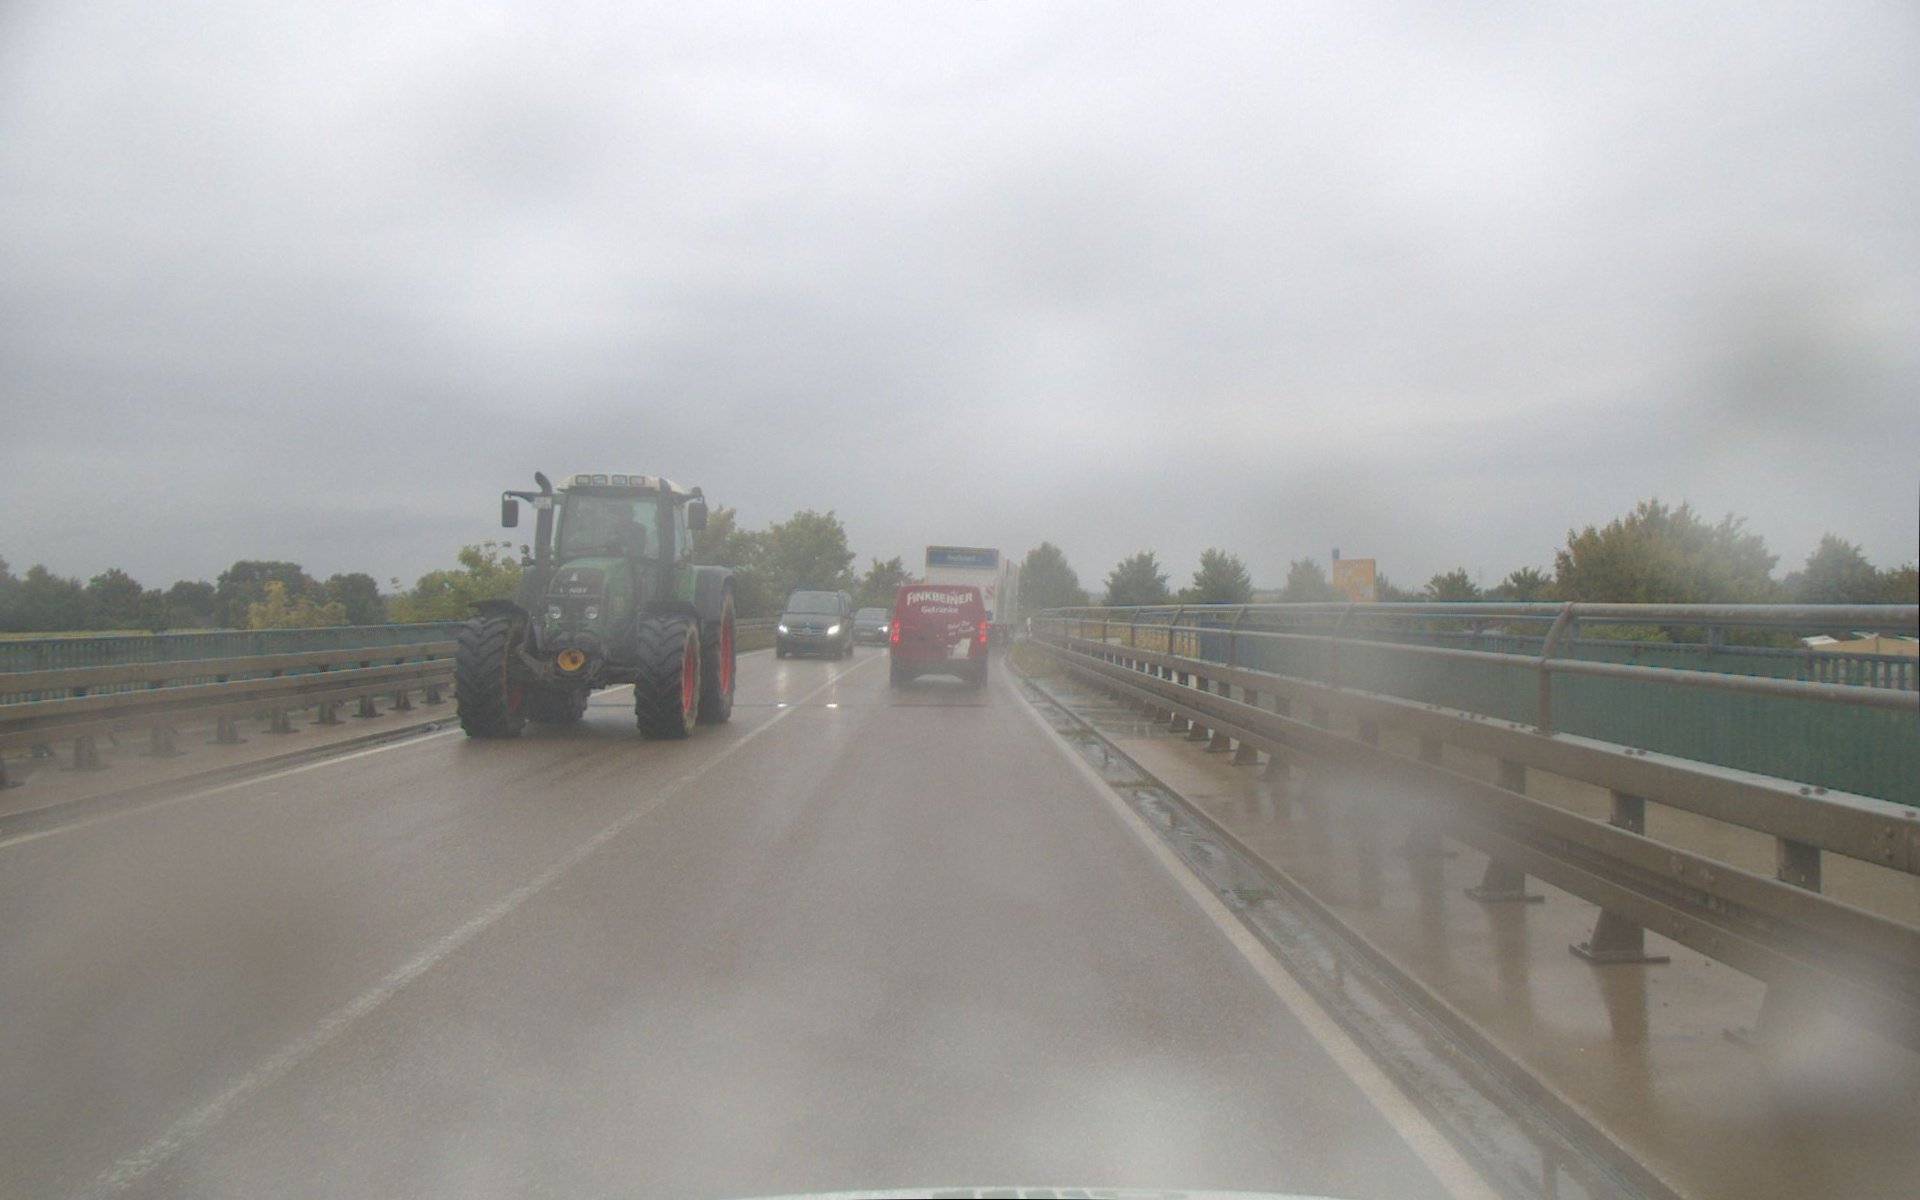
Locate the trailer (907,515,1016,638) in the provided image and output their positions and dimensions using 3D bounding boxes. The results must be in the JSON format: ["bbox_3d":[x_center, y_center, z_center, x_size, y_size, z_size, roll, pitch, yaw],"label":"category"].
[{"bbox_3d":[0.192,-0.785,60.236,3.134,3.990,8.744,3,0,4],"label":"trailer"}]

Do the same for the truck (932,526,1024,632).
[{"bbox_3d":[0.879,-0.805,69.000,3.134,3.990,8.744,3,0,4],"label":"truck"}]

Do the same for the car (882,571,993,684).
[{"bbox_3d":[-0.452,0.461,31.790,1.953,1.959,4.143,1,1,-2],"label":"car"}]

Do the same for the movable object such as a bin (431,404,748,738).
[{"bbox_3d":[-4.205,-0.319,19.765,2.692,3.505,4.643,0,0,0],"label":"movable object such as a bin"}]

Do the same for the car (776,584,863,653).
[{"bbox_3d":[-3.980,0.499,47.610,2.023,1.869,4.931,0,0,0],"label":"car"}]

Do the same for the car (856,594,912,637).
[{"bbox_3d":[-2.906,0.580,63.864,1.800,1.564,4.070,0,0,3],"label":"car"}]
